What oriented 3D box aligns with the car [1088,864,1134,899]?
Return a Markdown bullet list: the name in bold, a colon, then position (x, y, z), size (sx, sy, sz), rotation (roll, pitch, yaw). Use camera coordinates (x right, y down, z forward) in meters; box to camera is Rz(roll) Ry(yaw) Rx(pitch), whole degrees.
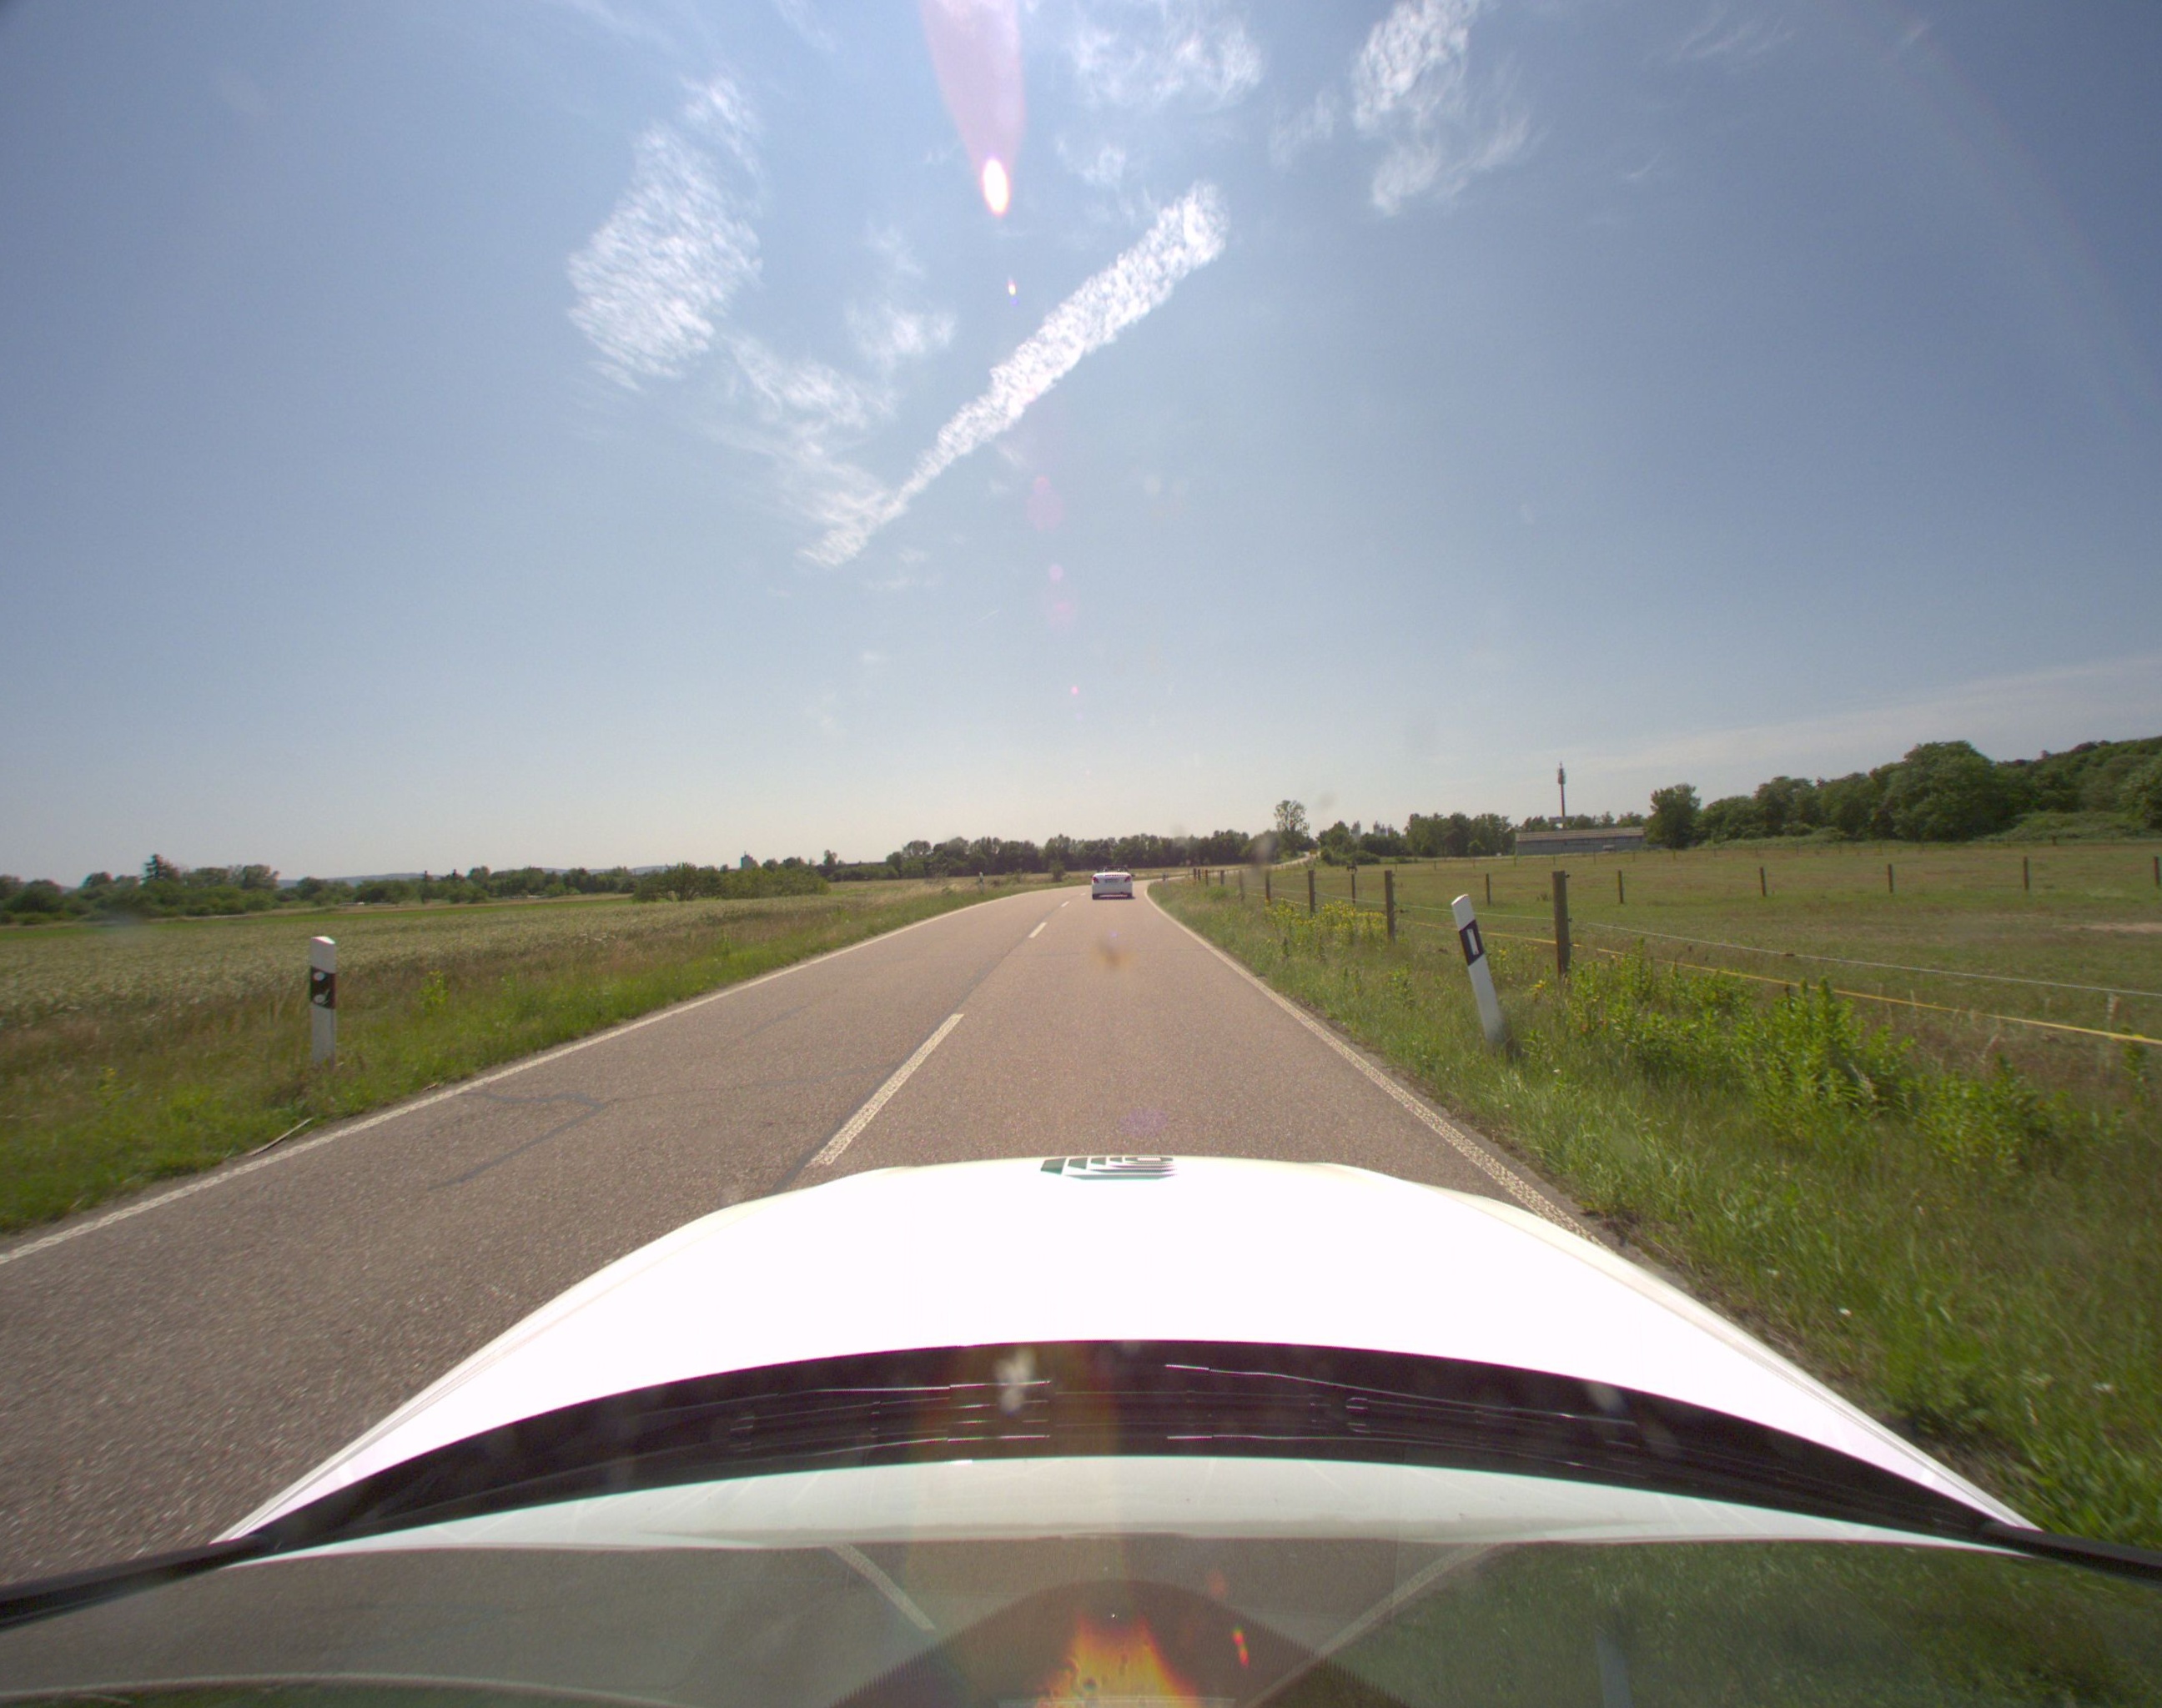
- **car**: position (1.316, 1.153, 35.209), size (1.843, 1.379, 4.003), rotation (-1, -1, 3)
